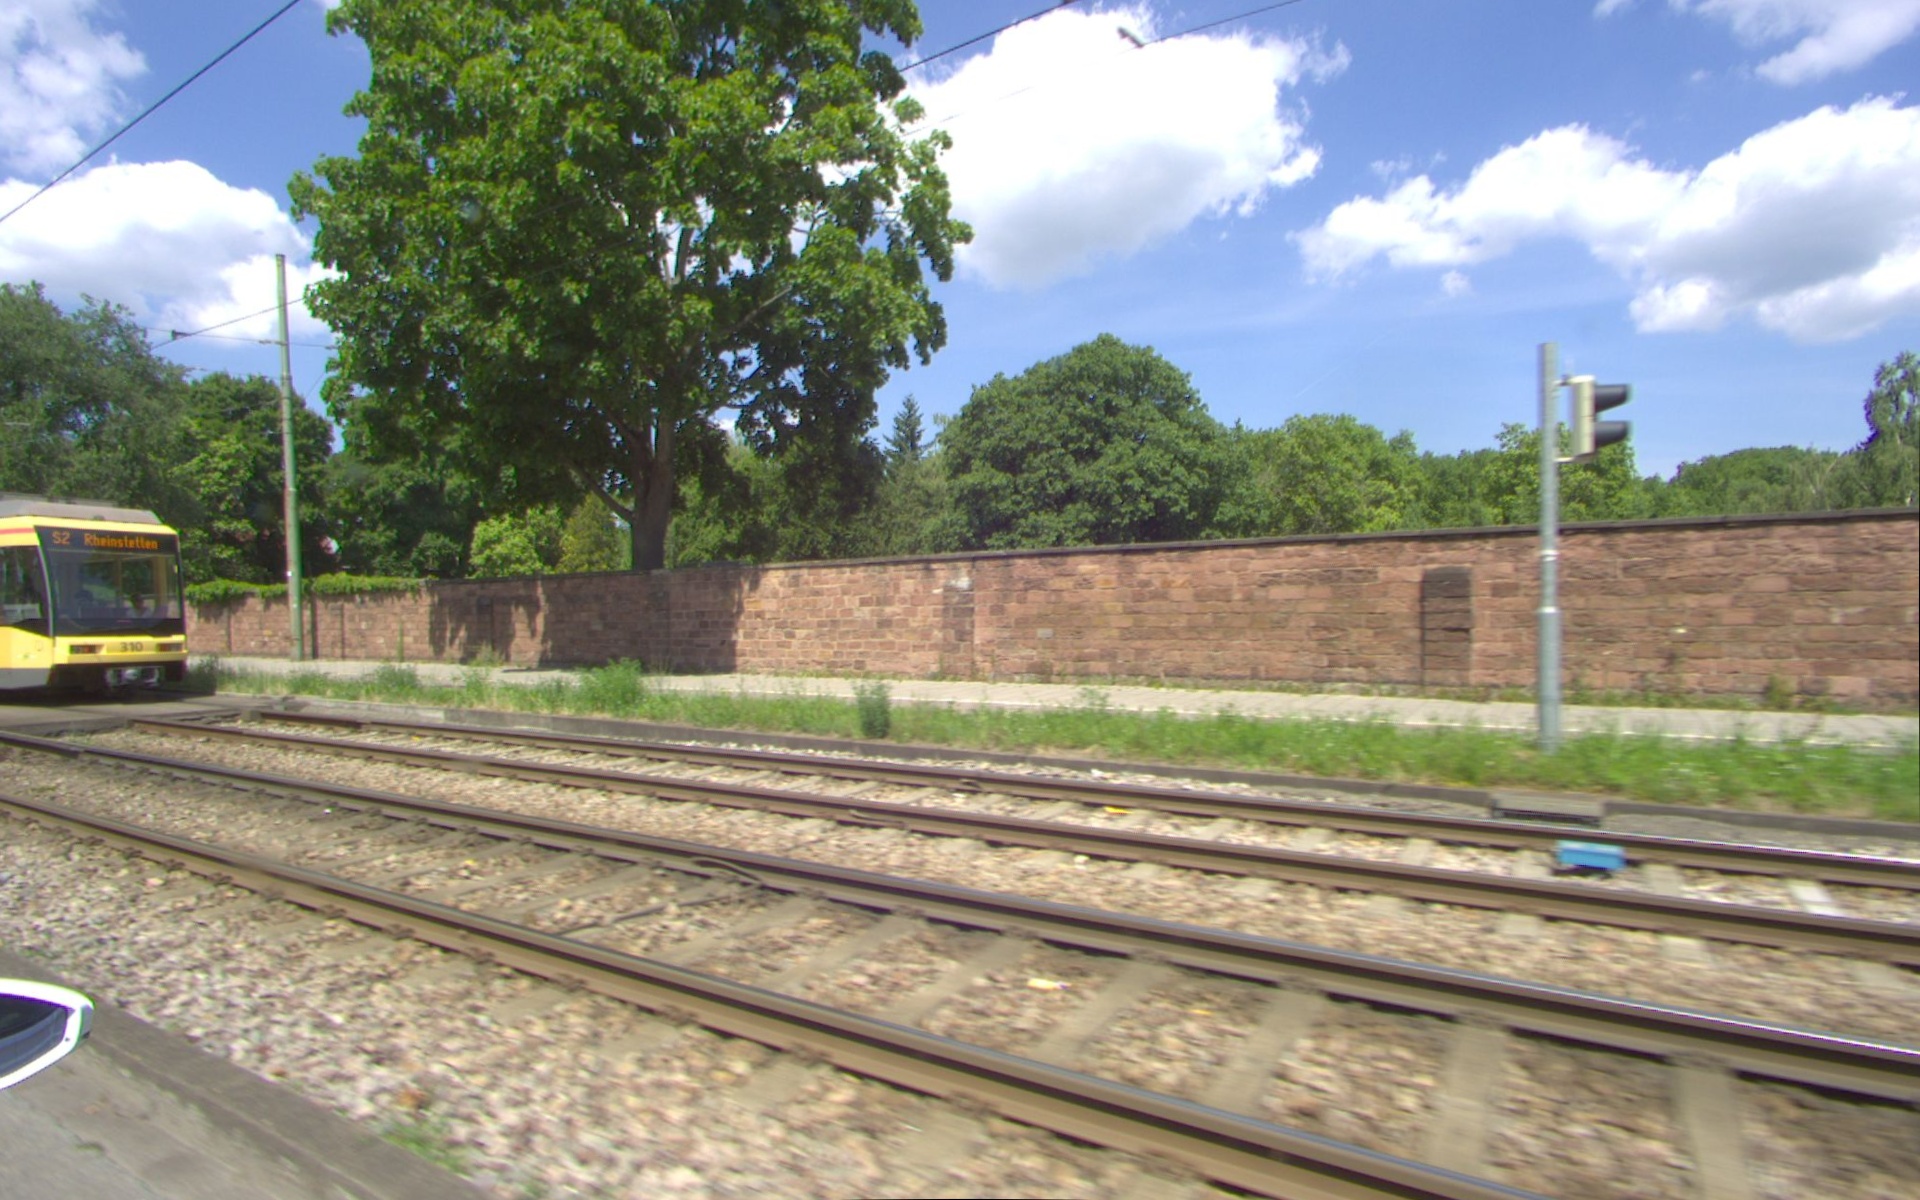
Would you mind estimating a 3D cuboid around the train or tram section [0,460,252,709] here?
[{"bbox_3d":[-21.091,-0.142,20.770,18.108,3.740,2.941,0,-1,29],"label":"train or tram section"}]
